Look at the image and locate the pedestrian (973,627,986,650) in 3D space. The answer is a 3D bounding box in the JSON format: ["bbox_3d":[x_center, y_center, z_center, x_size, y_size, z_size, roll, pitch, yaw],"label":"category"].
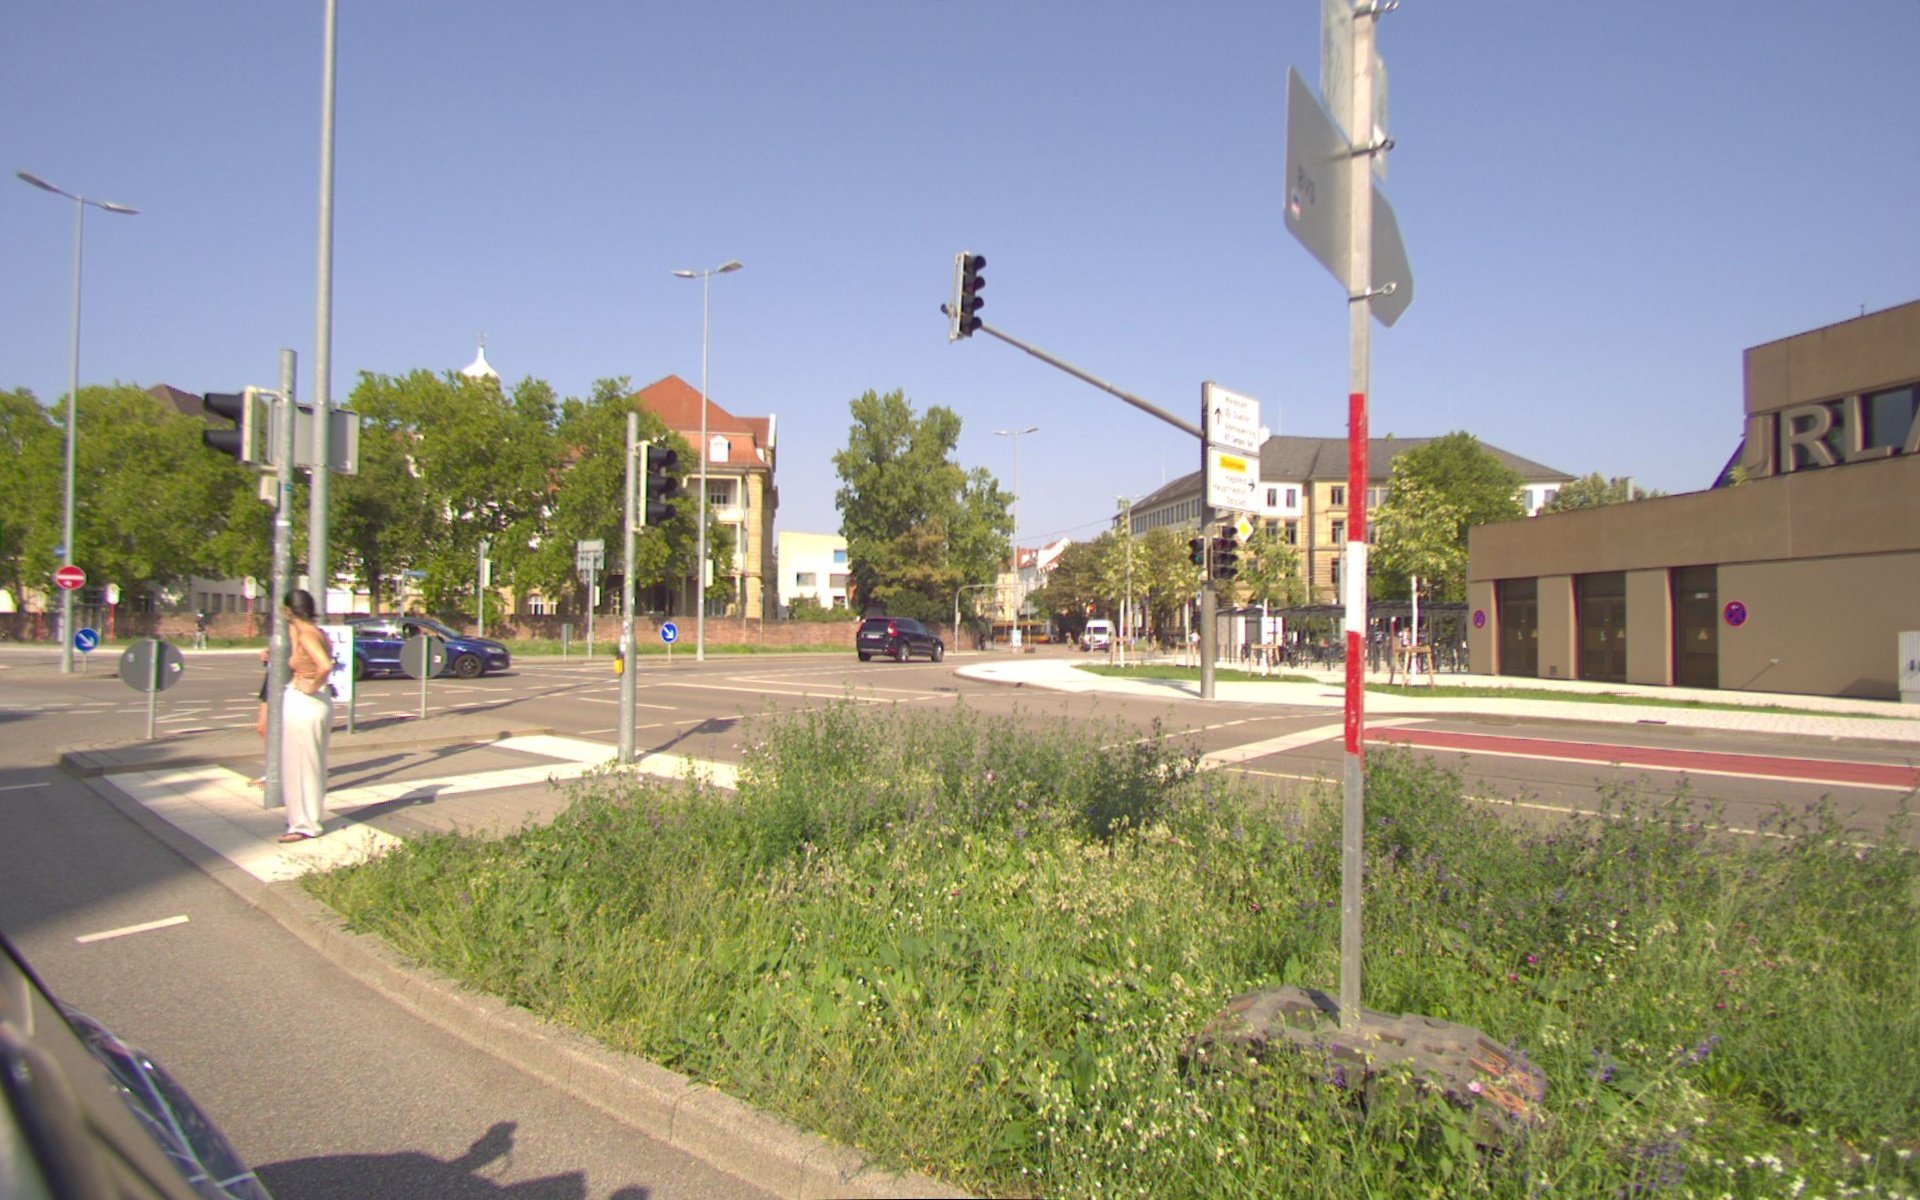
[{"bbox_3d":[1.728,3.381,89.136,0.821,2.029,0.807,-2,0,39],"label":"pedestrian"}]

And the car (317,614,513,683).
[{"bbox_3d":[-12.712,1.123,23.842,3.785,1.509,1.630,1,0,-15],"label":"car"}]

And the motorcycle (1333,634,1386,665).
[{"bbox_3d":[19.281,2.398,48.949,0.776,1.460,2.778,1,-2,-18],"label":"motorcycle"}]

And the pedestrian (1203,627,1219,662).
[{"bbox_3d":[14.534,2.557,58.516,0.853,2.029,1.003,0,-2,12],"label":"pedestrian"}]

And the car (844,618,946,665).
[{"bbox_3d":[-2.361,1.540,37.886,1.989,1.646,4.334,-1,-2,25],"label":"car"}]

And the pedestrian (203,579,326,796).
[{"bbox_3d":[-5.847,0.709,8.513,0.691,1.712,0.659,-2,-3,41],"label":"pedestrian"}]

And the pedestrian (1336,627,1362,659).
[{"bbox_3d":[21.480,2.369,55.921,0.847,1.774,1.010,1,-3,-24],"label":"pedestrian"}]

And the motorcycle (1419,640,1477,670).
[{"bbox_3d":[20.590,2.303,42.771,0.746,1.214,2.382,1,-2,-19],"label":"motorcycle"}]

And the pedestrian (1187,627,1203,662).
[{"bbox_3d":[13.657,2.568,58.859,0.853,2.029,1.003,0,-2,12],"label":"pedestrian"}]

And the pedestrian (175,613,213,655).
[{"bbox_3d":[-37.734,1.649,49.873,1.314,2.029,1.067,-1,-2,32],"label":"pedestrian"}]

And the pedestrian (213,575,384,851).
[{"bbox_3d":[-4.265,0.700,6.586,0.657,1.667,0.781,1,-2,-13],"label":"pedestrian"}]

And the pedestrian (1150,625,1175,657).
[{"bbox_3d":[13.076,2.655,65.270,1.207,2.029,1.330,-1,-3,29],"label":"pedestrian"}]

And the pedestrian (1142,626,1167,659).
[{"bbox_3d":[12.212,2.669,63.491,1.207,2.029,1.330,-1,-3,29],"label":"pedestrian"}]

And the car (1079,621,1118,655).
[{"bbox_3d":[11.229,3.042,81.719,1.985,2.470,5.515,-1,0,20],"label":"car"}]
